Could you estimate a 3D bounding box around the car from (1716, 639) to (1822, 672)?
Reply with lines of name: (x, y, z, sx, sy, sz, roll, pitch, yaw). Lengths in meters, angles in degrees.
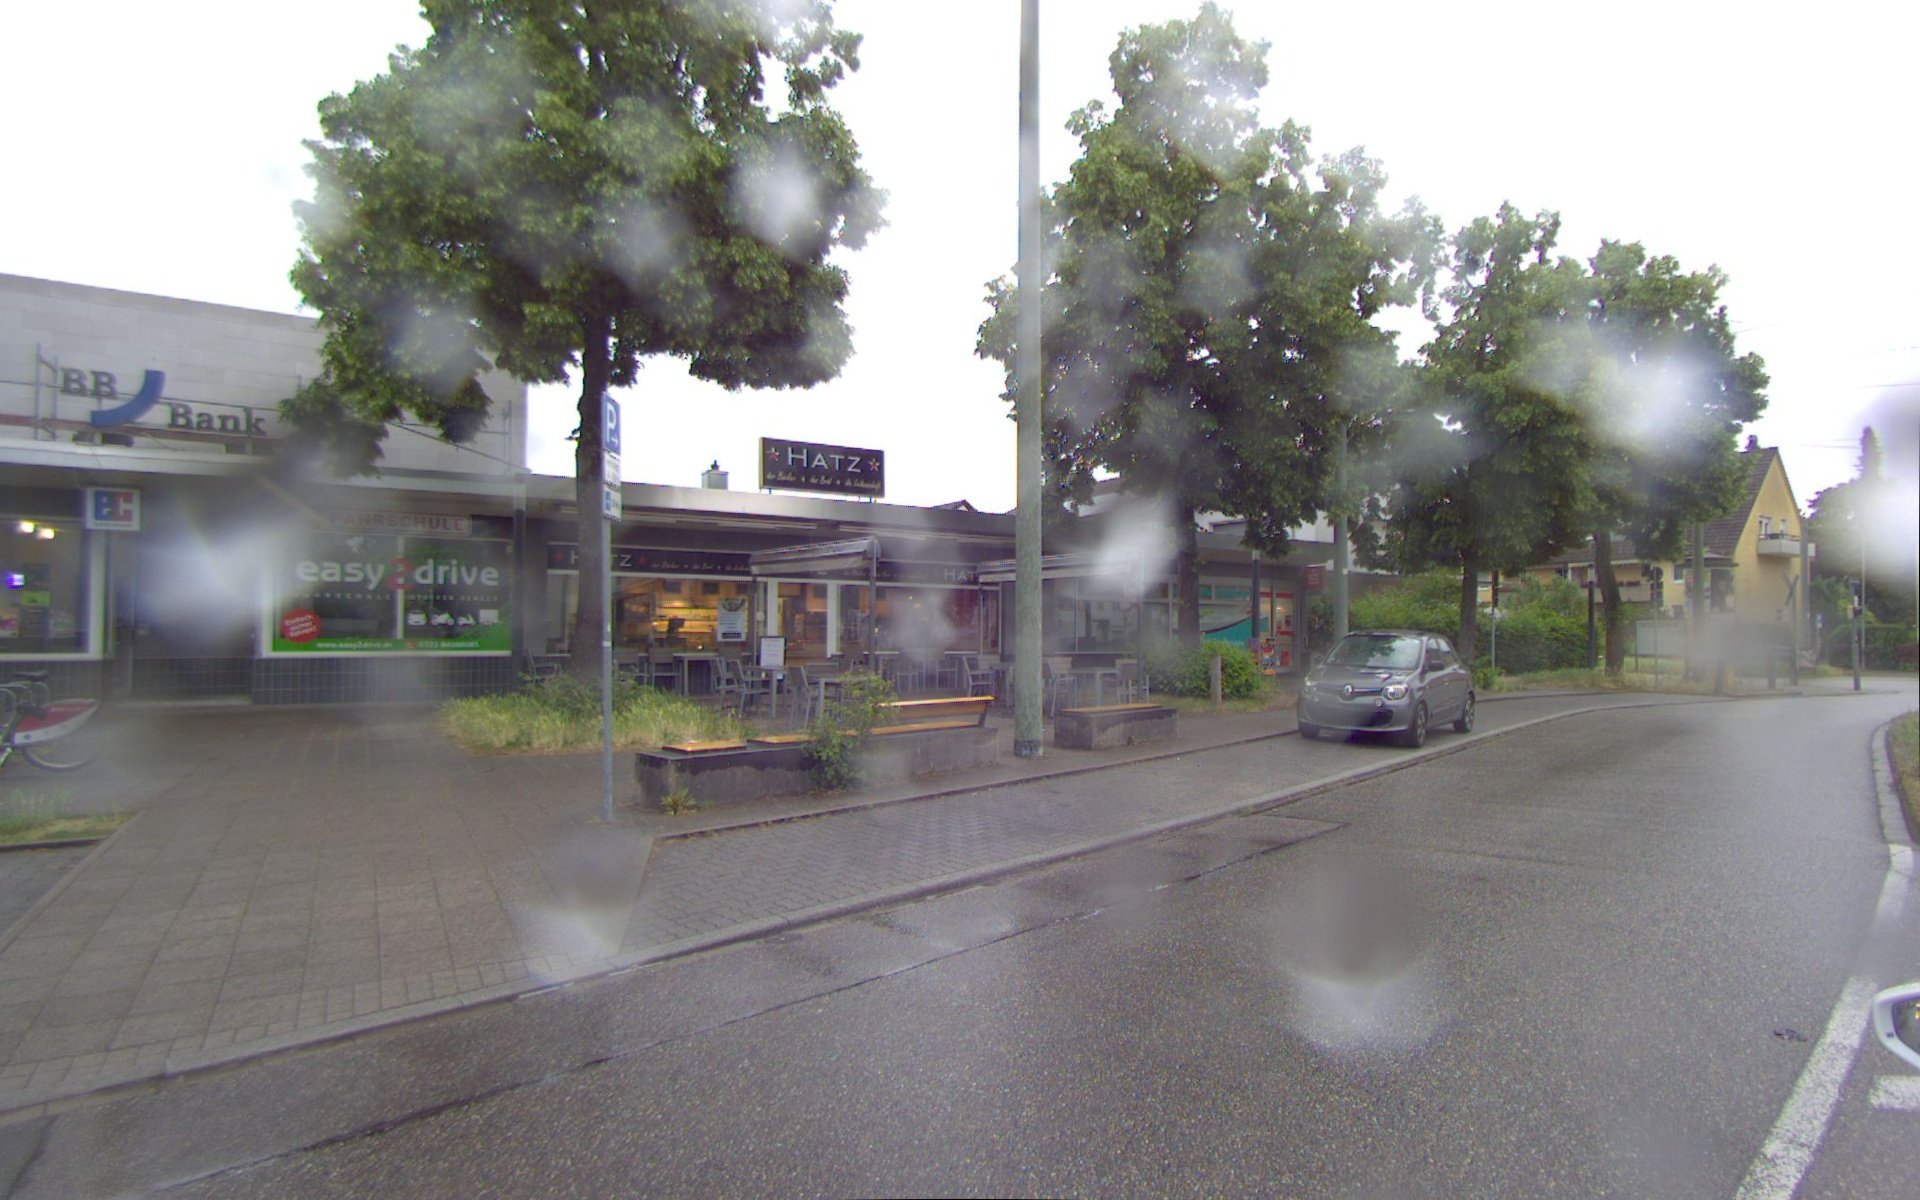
car: (41.966, 2.858, 52.182, 1.815, 1.476, 3.960, 2, 0, -35)

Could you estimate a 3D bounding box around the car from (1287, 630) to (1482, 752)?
car: (6.358, 1.232, 14.844, 1.598, 1.516, 3.649, 2, 0, 40)

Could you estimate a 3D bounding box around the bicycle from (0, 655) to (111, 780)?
bicycle: (-8.995, 1.086, 9.261, 0.314, 1.122, 1.739, 2, 0, 43)
